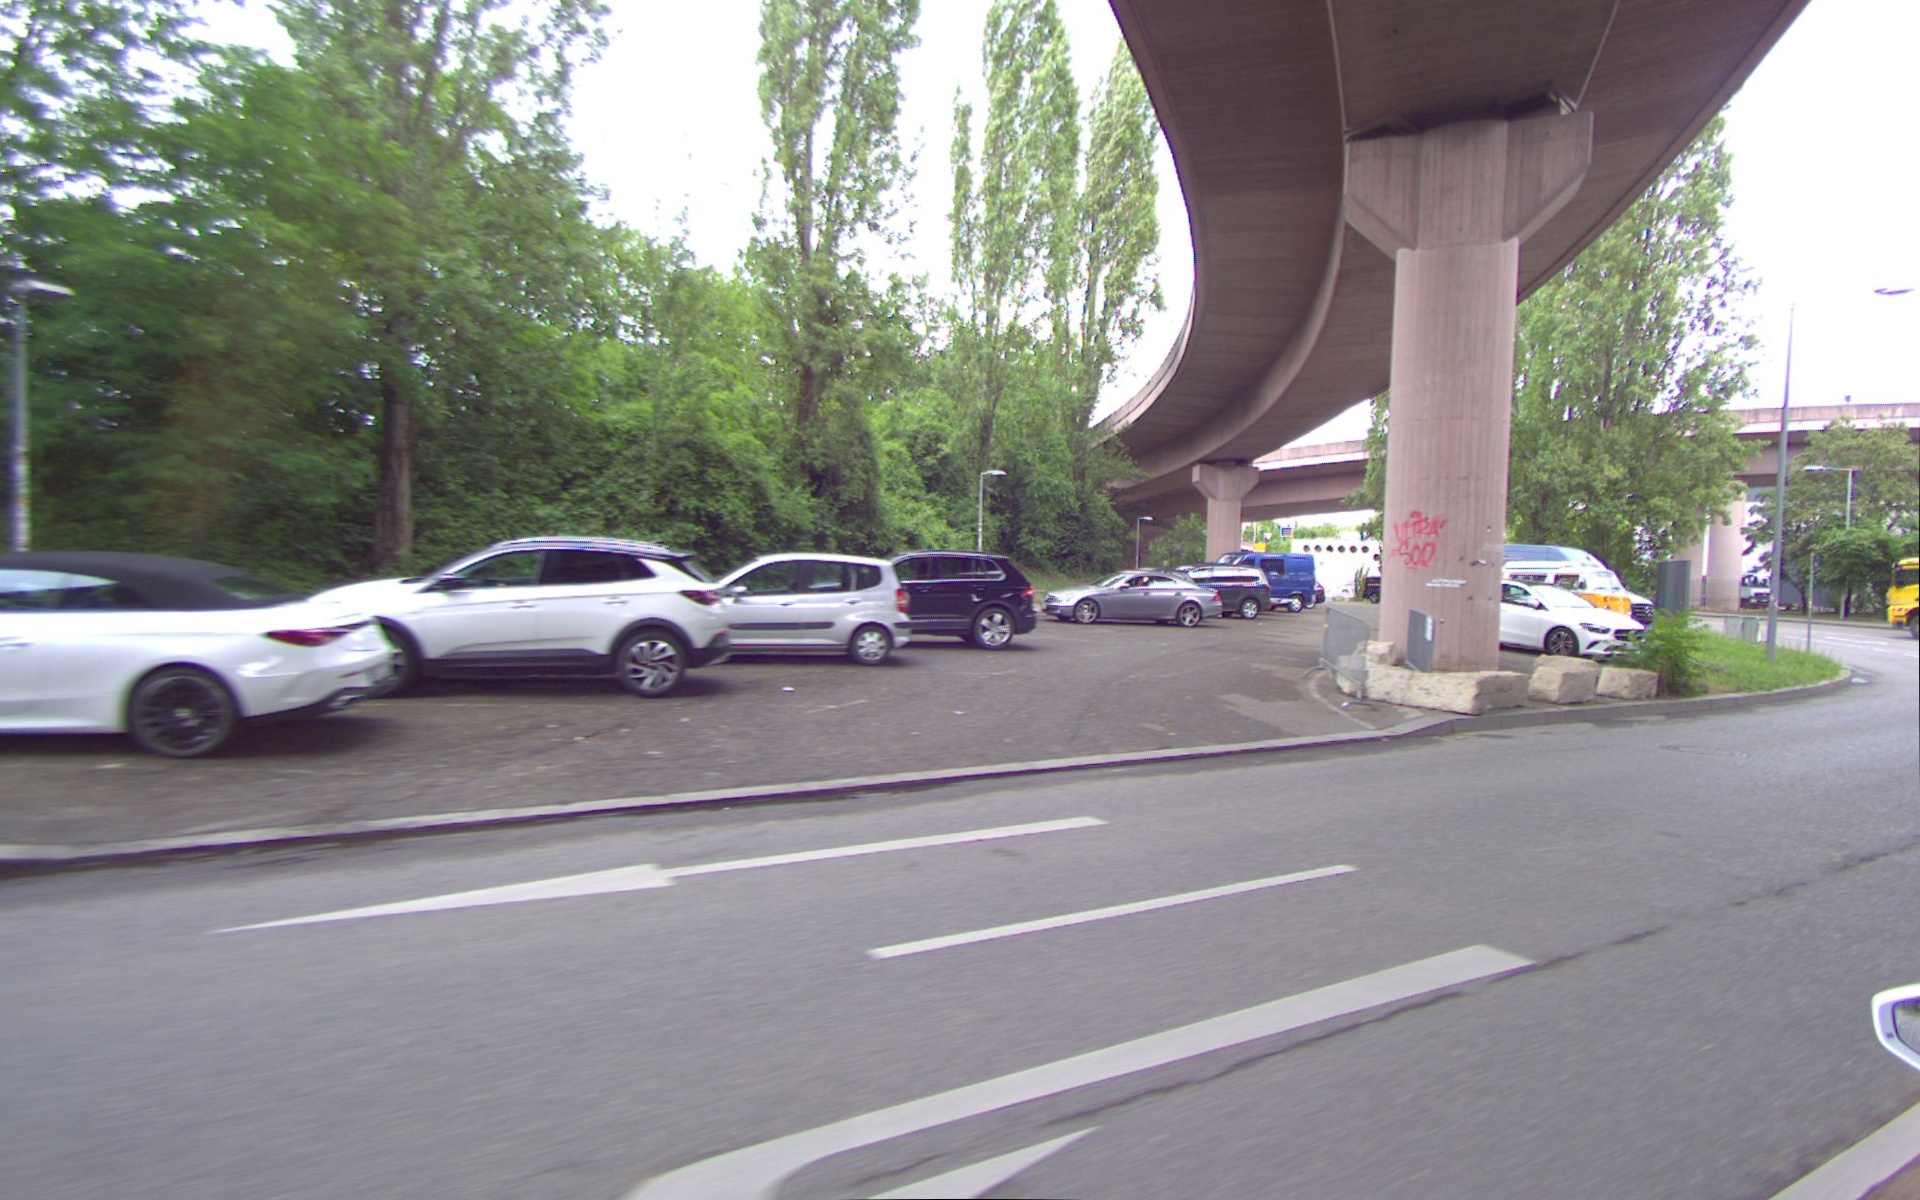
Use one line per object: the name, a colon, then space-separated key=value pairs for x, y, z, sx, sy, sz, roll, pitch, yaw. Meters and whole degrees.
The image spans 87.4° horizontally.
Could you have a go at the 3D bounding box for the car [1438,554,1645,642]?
car: x=15.711 y=-0.126 z=27.405 sx=1.828 sy=2.140 sz=4.536 roll=0 pitch=3 yaw=-28

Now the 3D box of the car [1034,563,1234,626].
car: x=4.520 y=-0.149 z=26.315 sx=4.805 sy=1.508 sz=1.857 roll=1 pitch=4 yaw=-14

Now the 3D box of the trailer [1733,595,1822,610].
trailer: x=55.471 y=0.171 z=68.316 sx=2.112 sy=0.753 sz=6.296 roll=-2 pitch=1 yaw=13

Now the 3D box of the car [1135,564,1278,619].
car: x=7.920 y=-0.261 z=32.437 sx=4.081 sy=1.698 sz=1.897 roll=0 pitch=0 yaw=-12

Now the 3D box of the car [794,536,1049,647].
car: x=-0.724 y=-0.139 z=17.377 sx=4.093 sy=1.714 sz=1.857 roll=2 pitch=2 yaw=-14

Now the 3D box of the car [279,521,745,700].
car: x=-4.699 y=0.094 z=11.177 sx=4.329 sy=1.604 sz=1.992 roll=3 pitch=5 yaw=-17

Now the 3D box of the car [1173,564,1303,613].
car: x=9.931 y=-0.392 z=36.010 sx=4.083 sy=1.698 sz=1.896 roll=0 pitch=0 yaw=-13

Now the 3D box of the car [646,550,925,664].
car: x=-2.499 y=0.097 z=14.424 sx=3.683 sy=1.473 sz=1.787 roll=1 pitch=1 yaw=-14

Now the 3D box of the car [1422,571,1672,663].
car: x=12.674 y=0.277 z=22.031 sx=1.927 sy=1.628 sz=4.368 roll=1 pitch=4 yaw=-24

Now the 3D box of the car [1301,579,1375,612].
car: x=23.973 y=-0.310 z=63.775 sx=3.942 sy=2.040 sz=1.989 roll=1 pitch=1 yaw=42

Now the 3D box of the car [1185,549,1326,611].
car: x=11.480 y=-0.736 z=39.095 sx=4.936 sy=2.285 sz=2.117 roll=1 pitch=0 yaw=-17

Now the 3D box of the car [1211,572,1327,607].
car: x=13.726 y=-0.461 z=44.683 sx=4.566 sy=1.454 sz=1.995 roll=1 pitch=0 yaw=-13

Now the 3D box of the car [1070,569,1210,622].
car: x=5.225 y=-0.125 z=29.189 sx=3.677 sy=1.461 sz=1.642 roll=0 pitch=0 yaw=-20

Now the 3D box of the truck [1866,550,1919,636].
truck: x=42.046 y=-0.311 z=40.214 sx=2.892 sy=3.528 sz=8.205 roll=-3 pitch=2 yaw=-20

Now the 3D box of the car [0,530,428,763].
car: x=-7.071 y=0.287 z=7.893 sx=4.751 sy=1.500 sz=1.992 roll=3 pitch=4 yaw=-17

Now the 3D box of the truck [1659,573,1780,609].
truck: x=57.367 y=-0.743 z=76.113 sx=2.678 sy=2.586 sz=7.210 roll=0 pitch=1 yaw=-14

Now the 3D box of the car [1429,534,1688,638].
car: x=17.488 y=-0.509 z=29.779 sx=2.343 sy=2.762 sz=6.137 roll=0 pitch=3 yaw=-33
